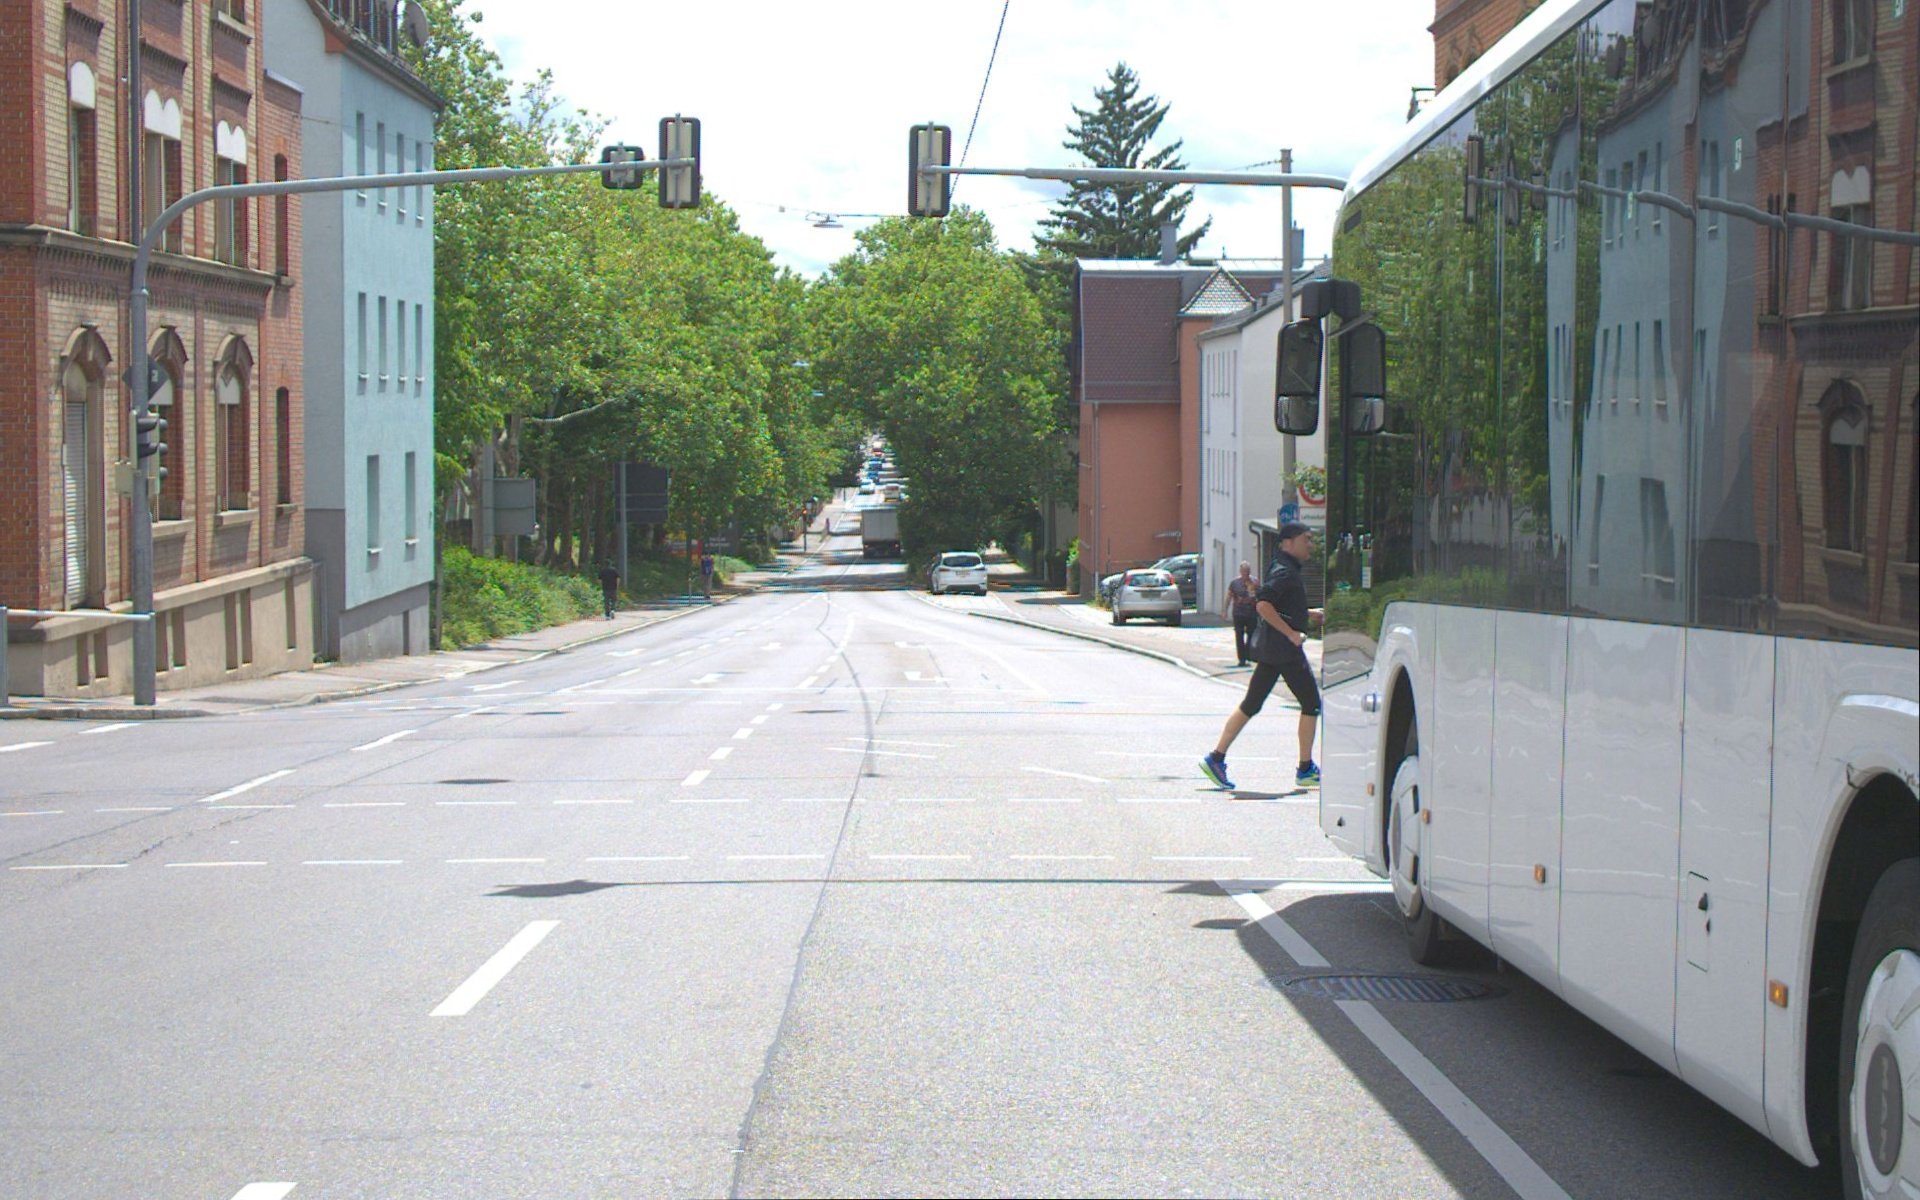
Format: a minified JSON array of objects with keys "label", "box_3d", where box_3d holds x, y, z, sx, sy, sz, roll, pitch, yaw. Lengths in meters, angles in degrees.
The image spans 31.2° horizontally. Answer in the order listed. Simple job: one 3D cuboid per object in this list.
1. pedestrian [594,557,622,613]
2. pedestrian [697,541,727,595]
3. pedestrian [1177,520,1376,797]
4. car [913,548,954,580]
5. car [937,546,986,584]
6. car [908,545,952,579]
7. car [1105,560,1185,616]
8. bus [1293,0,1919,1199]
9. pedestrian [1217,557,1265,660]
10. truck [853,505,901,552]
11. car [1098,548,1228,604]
[{"label":"pedestrian","box_3d":[-9.886,-0.417,96.656,0.729,1.560,0.561,0,1,-1]},{"label":"pedestrian","box_3d":[-9.278,-1.214,128.637,0.995,2.007,1.189,-1,1,-1]},{"label":"pedestrian","box_3d":[2.011,0.363,21.952,1.140,1.728,0.759,0,1,-5]},{"label":"car","box_3d":[-1.175,-1.614,154.276,1.794,1.405,4.419,1,1,0]},{"label":"car","box_3d":[0.036,-1.321,129.274,1.794,1.405,4.000,1,1,0]},{"label":"car","box_3d":[-1.277,-1.604,145.853,1.794,1.405,4.419,1,1,0]},{"label":"car","box_3d":[4.987,-0.344,93.067,1.794,1.405,4.001,-1,1,-2]},{"label":"bus","box_3d":[2.893,-0.218,9.249,2.672,3.145,12.462,0,1,0]},{"label":"pedestrian","box_3d":[4.845,0.140,59.241,0.738,1.744,0.619,-1,1,-1]},{"label":"truck","box_3d":[-5.604,-4.821,231.100,2.926,3.070,7.886,-1,1,-3]},{"label":"car","box_3d":[6.665,-0.796,113.165,3.986,1.751,2.000,-1,1,-5]}]
